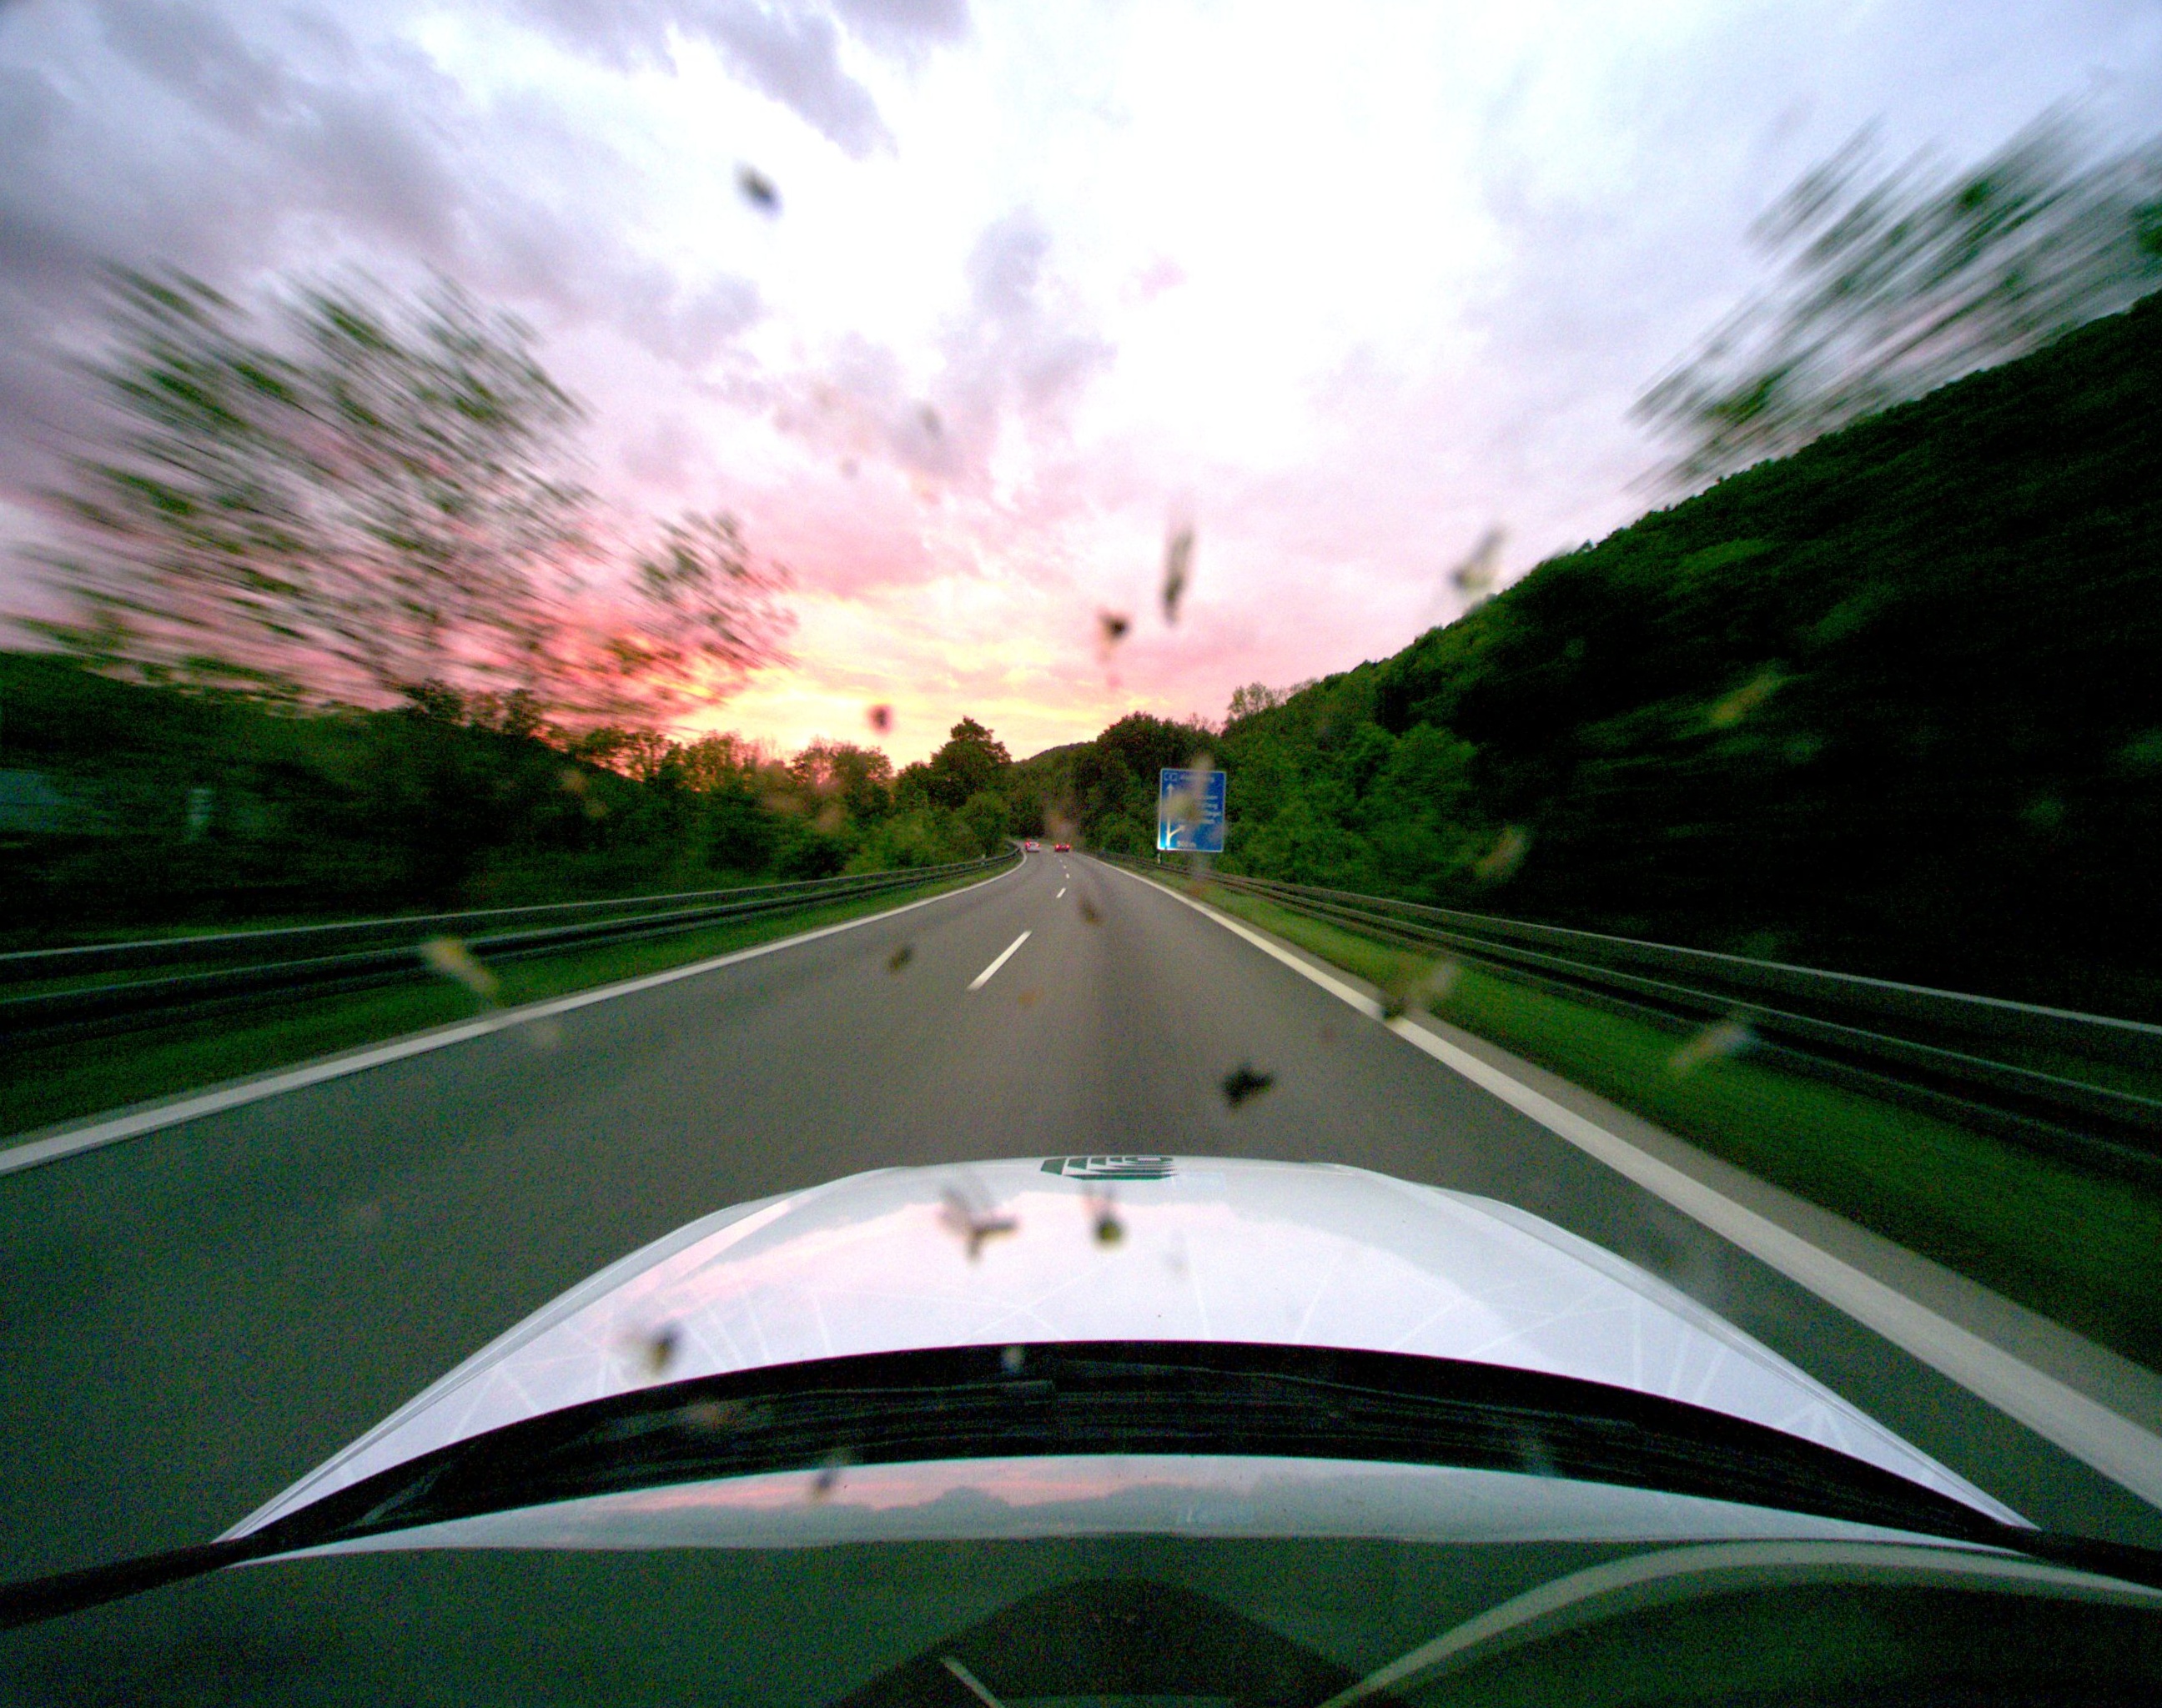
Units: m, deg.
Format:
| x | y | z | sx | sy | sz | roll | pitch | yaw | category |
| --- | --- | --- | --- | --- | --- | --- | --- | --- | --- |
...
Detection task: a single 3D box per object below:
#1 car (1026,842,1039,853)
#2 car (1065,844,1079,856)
| x | y | z | sx | sy | sz | roll | pitch | yaw | category |
| --- | --- | --- | --- | --- | --- | --- | --- | --- | --- |
| -7.063 | -0.995 | 118.735 | 1.714 | 1.501 | 3.997 | 1 | 0 | -2 | car |
| -1.300 | -0.570 | 119.304 | 1.871 | 1.466 | 4.002 | -4 | 0 | 2 | car |
